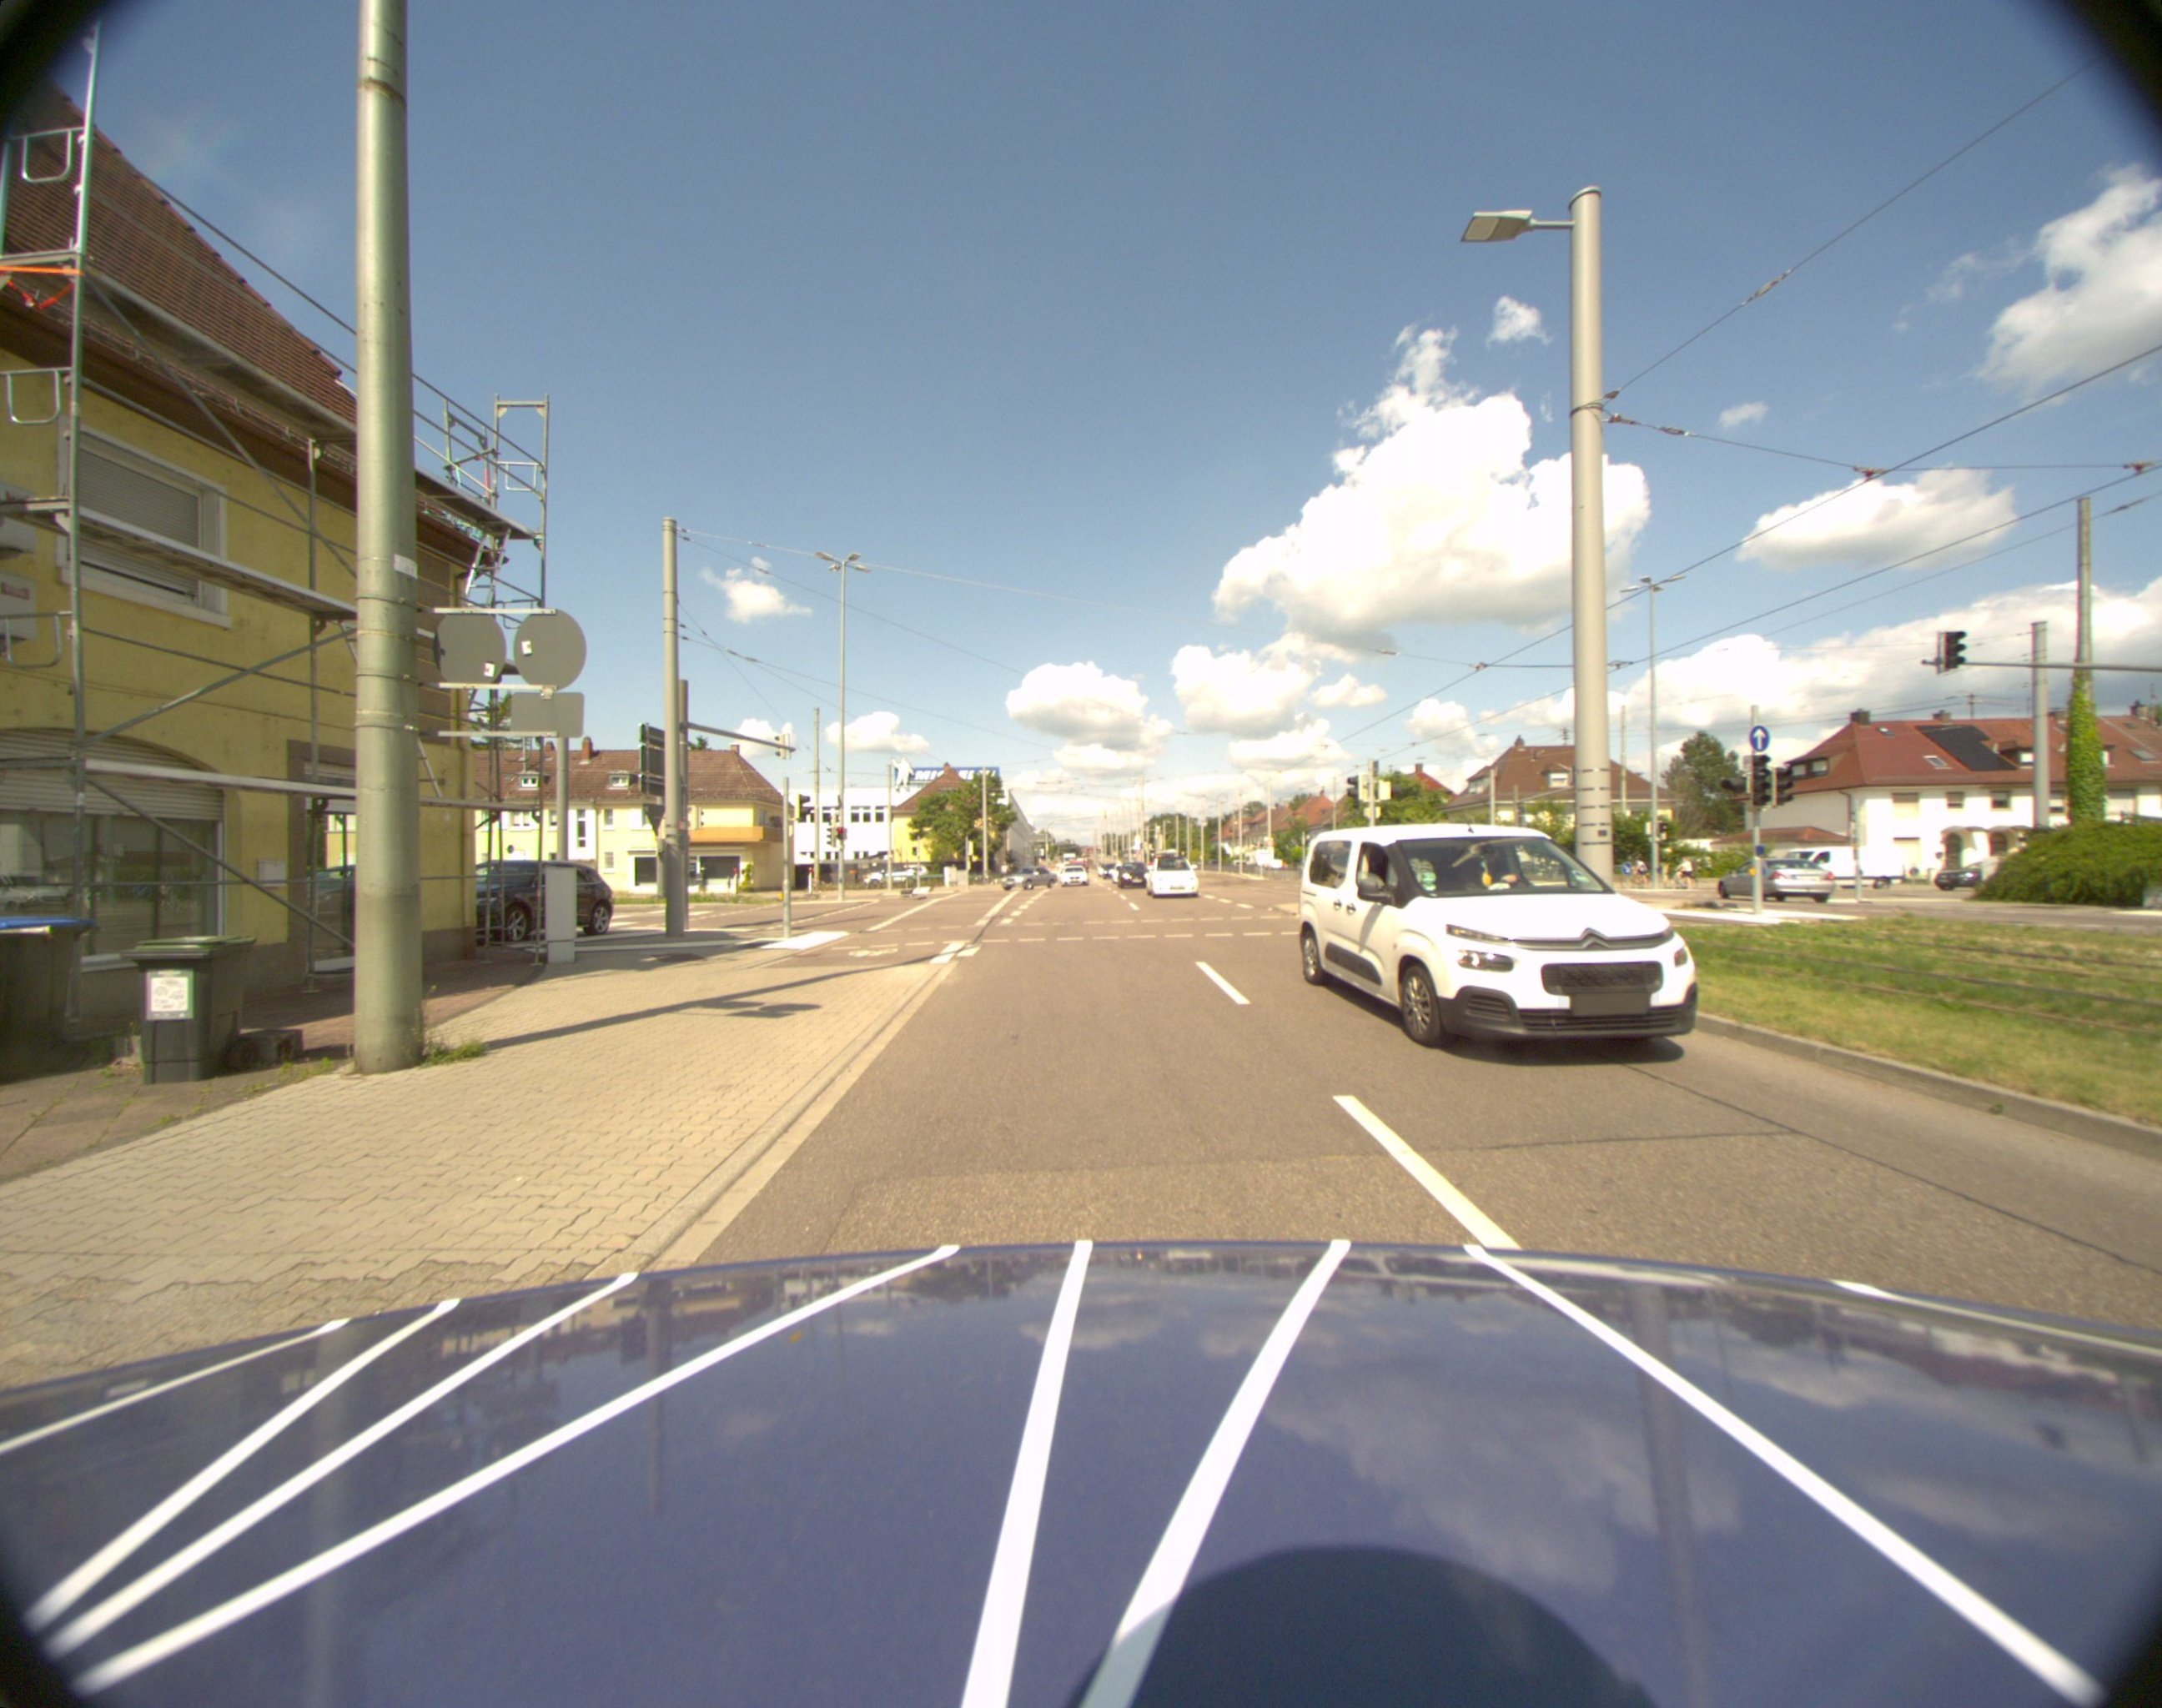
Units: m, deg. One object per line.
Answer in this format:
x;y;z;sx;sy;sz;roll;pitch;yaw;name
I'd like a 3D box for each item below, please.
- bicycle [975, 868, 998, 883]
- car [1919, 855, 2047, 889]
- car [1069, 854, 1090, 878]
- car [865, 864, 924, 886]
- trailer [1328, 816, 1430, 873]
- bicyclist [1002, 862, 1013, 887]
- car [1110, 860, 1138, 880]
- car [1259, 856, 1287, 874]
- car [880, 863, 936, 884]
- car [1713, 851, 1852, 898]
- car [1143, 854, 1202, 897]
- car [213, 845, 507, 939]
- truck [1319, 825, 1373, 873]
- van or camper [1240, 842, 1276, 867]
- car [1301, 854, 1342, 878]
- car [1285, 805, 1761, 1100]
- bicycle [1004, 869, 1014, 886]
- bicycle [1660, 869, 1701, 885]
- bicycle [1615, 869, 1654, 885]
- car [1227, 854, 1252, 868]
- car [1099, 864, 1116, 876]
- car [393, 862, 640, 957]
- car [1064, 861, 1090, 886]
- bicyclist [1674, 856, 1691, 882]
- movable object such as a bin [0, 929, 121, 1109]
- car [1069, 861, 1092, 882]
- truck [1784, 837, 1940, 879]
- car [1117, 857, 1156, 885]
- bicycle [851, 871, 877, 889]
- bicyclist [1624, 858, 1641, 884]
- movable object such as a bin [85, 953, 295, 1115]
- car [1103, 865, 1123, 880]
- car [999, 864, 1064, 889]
-7.076;1.621;56.964;0.462;1.012;1.759;-2;1;40;bicycle
46.815;0.905;39.506;4.174;1.543;2.000;-2;1;3;car
-0.158;1.069;72.029;1.788;2.134;5.168;-2;0;-1;car
-14.178;1.596;57.998;4.118;1.587;1.800;-1;-1;-6;car
22.214;-0.532;57.795;2.606;3.798;12.837;1;-1;0;trailer
-5.117;1.405;52.821;0.652;1.727;0.983;-3;1;-7;bicyclist
3.231;1.160;57.492;1.698;1.350;4.498;-2;0;-1;car
19.018;1.076;75.424;1.799;1.627;4.471;0;0;2;car
-13.826;1.546;60.834;4.118;1.587;1.800;-1;-1;-6;car
22.662;0.606;24.780;1.796;1.379;4.478;0;0;21;car
3.457;0.787;29.272;1.680;1.495;3.393;-2;0;-3;car
-14.356;0.662;15.550;1.998;1.586;4.131;-2;0;0;car
22.196;-0.388;63.951;2.605;3.798;5.668;1;-1;1;truck
21.911;0.067;94.500;2.330;2.912;7.752;-1;0;-2;van or camper
19.070;0.907;60.440;1.799;1.804;4.712;0;0;0;car
3.391;0.619;6.989;1.799;1.804;4.329;-2;0;0;car
-5.041;1.612;53.068;0.652;1.111;1.587;-3;0;-6;bicycle
34.370;1.333;43.546;1.808;0.830;0.602;-2;1;2;bicycle
31.771;1.329;43.625;1.808;0.830;0.602;-2;1;2;bicycle
18.904;0.872;90.749;1.998;1.543;4.177;2;0;1;car
3.165;1.923;92.225;1.698;1.350;4.498;-2;0;-1;car
-11.502;1.035;15.944;1.998;1.586;4.131;-2;0;0;car
-0.325;1.364;53.813;1.664;1.564;3.999;-2;0;-1;car
34.459;0.864;43.539;0.501;1.489;0.602;-2;1;2;bicyclist
-7.212;1.095;5.056;0.512;1.099;0.855;-1;1;1;movable object such as a bin
-0.064;1.410;61.432;1.664;1.529;3.999;-2;0;-1;car
41.101;0.225;40.083;6.199;1.910;1.690;-2;1;3;truck
3.046;0.927;42.314;1.680;1.414;3.557;-2;0;-3;car
-14.411;1.702;50.481;1.576;1.131;0.380;-3;1;-28;bicycle
31.662;0.982;43.619;0.501;1.489;0.602;-2;1;2;bicyclist
-5.995;1.186;5.157;0.512;0.913;0.741;-1;1;1;movable object such as a bin
3.211;1.838;77.410;1.698;1.350;4.498;-2;0;-1;car
-3.078;1.420;47.827;1.722;1.389;4.472;-2;-1;32;car
